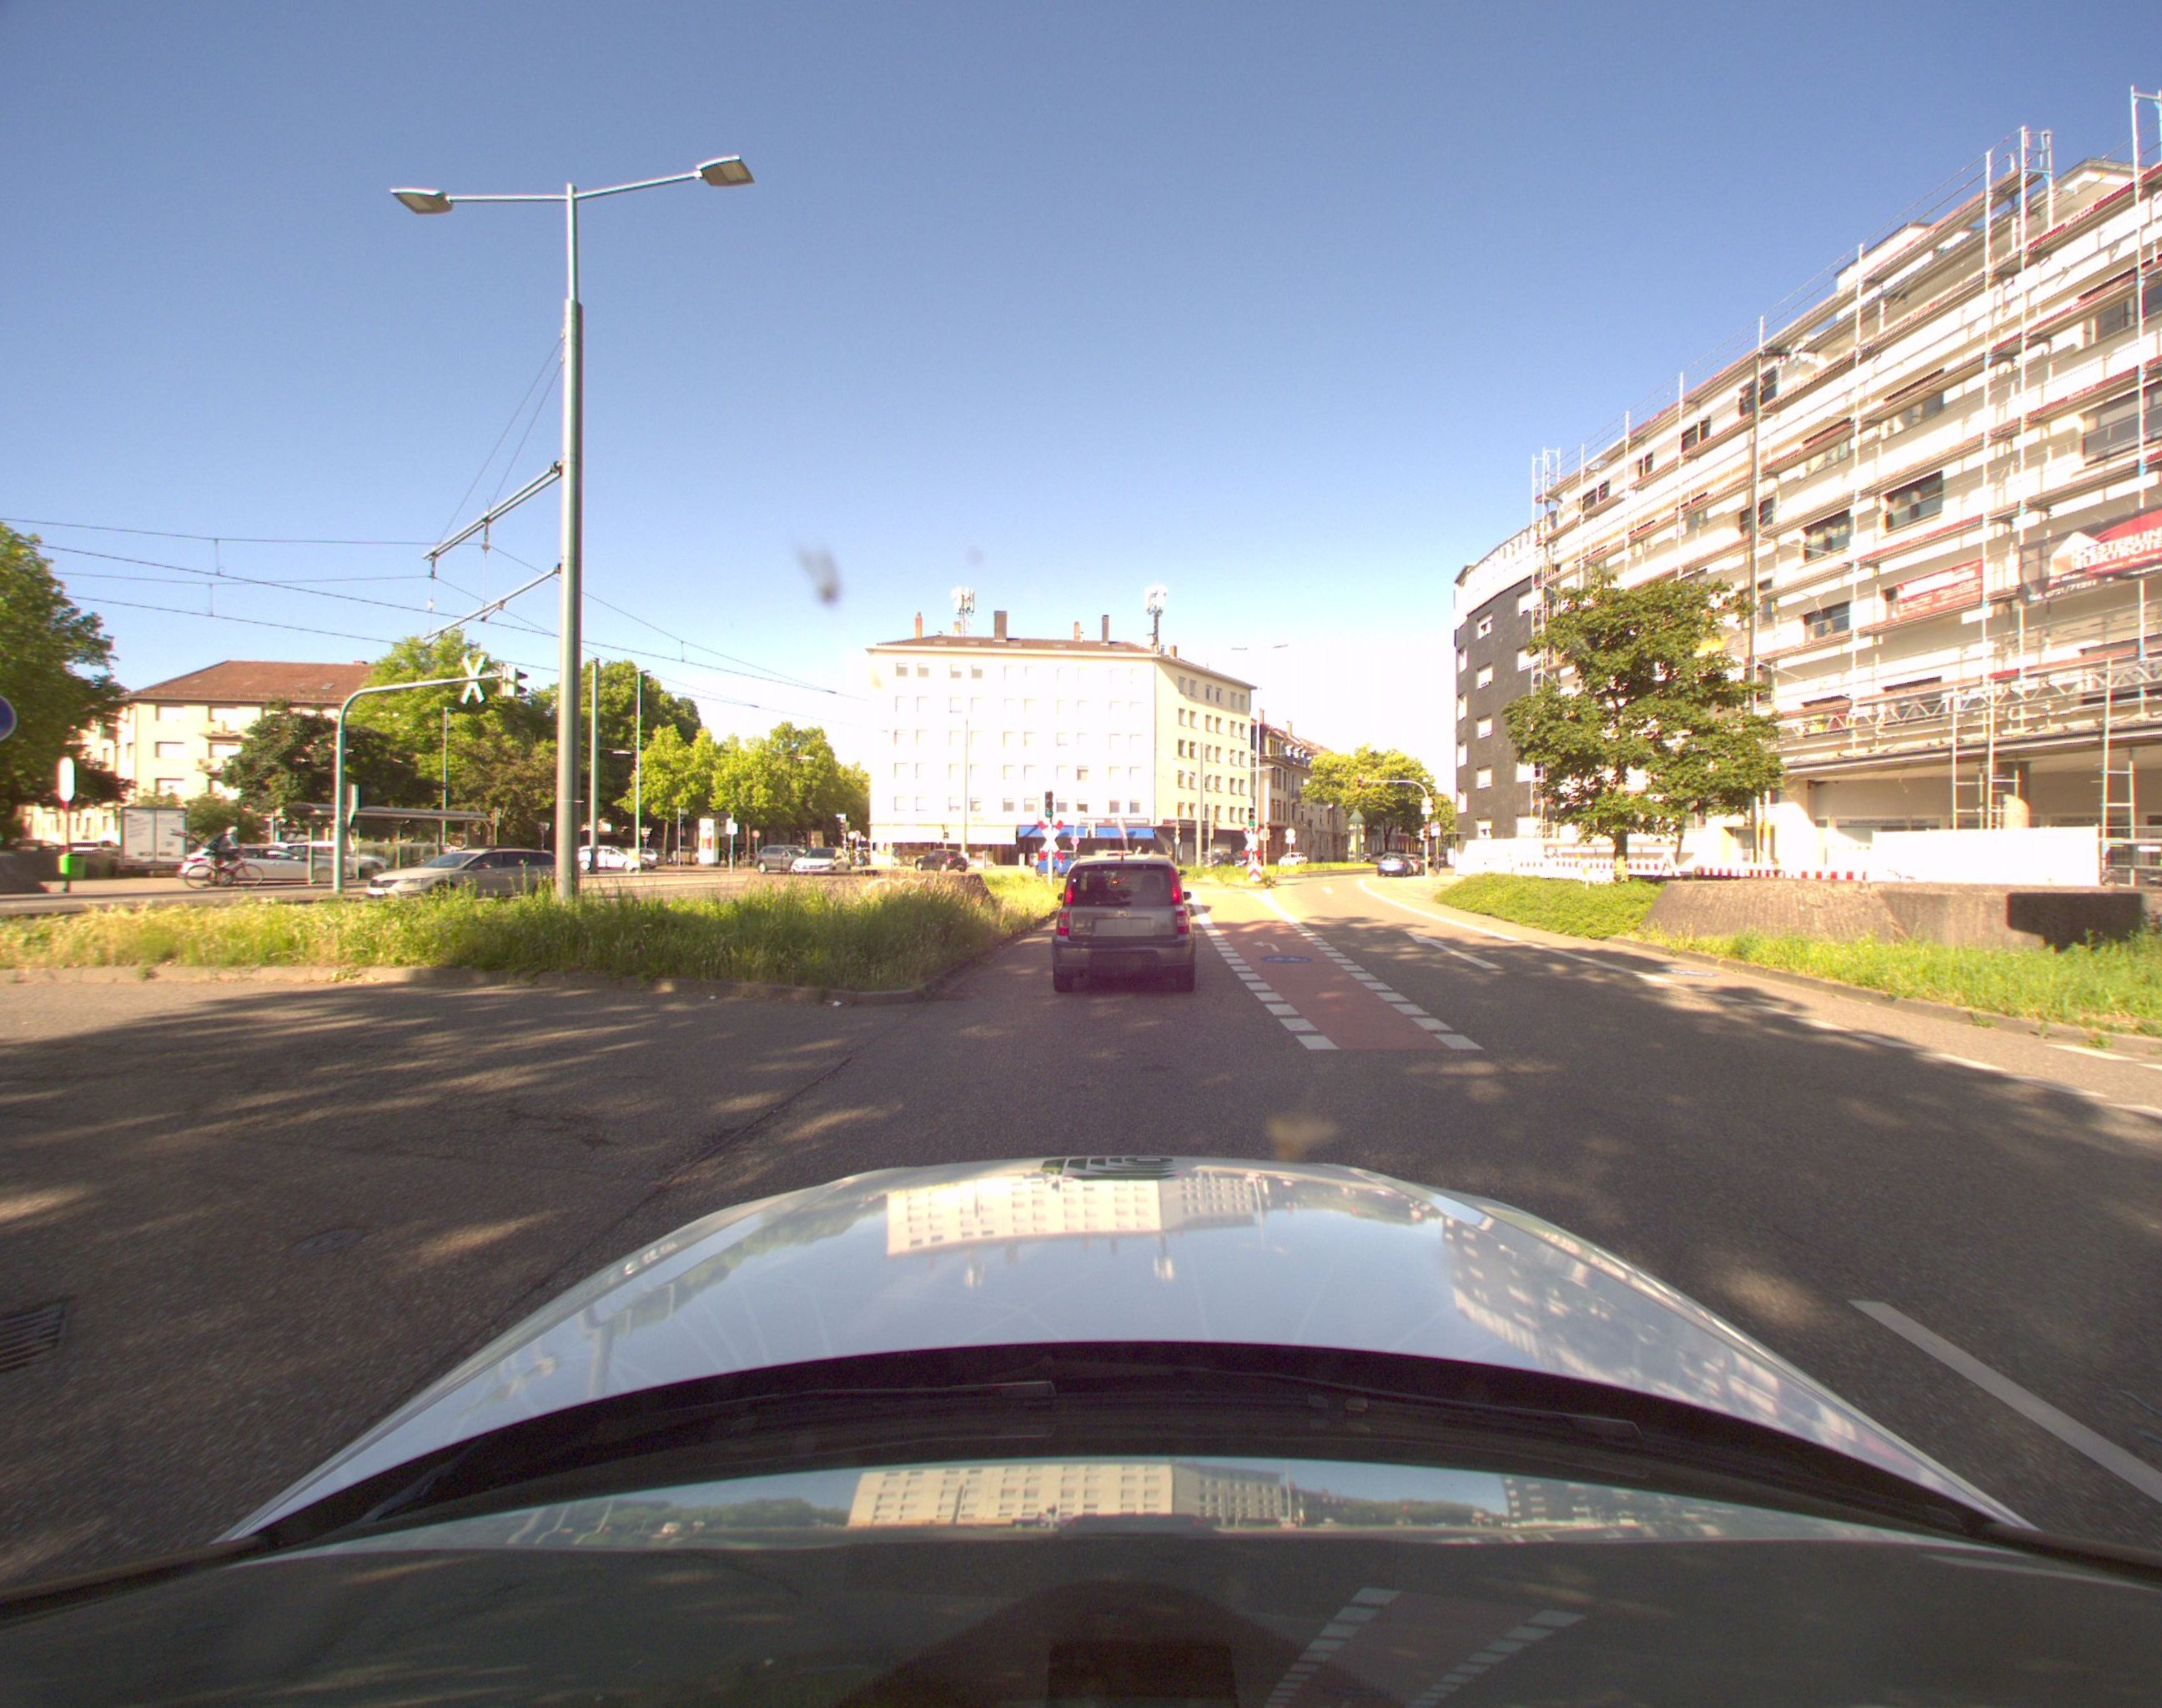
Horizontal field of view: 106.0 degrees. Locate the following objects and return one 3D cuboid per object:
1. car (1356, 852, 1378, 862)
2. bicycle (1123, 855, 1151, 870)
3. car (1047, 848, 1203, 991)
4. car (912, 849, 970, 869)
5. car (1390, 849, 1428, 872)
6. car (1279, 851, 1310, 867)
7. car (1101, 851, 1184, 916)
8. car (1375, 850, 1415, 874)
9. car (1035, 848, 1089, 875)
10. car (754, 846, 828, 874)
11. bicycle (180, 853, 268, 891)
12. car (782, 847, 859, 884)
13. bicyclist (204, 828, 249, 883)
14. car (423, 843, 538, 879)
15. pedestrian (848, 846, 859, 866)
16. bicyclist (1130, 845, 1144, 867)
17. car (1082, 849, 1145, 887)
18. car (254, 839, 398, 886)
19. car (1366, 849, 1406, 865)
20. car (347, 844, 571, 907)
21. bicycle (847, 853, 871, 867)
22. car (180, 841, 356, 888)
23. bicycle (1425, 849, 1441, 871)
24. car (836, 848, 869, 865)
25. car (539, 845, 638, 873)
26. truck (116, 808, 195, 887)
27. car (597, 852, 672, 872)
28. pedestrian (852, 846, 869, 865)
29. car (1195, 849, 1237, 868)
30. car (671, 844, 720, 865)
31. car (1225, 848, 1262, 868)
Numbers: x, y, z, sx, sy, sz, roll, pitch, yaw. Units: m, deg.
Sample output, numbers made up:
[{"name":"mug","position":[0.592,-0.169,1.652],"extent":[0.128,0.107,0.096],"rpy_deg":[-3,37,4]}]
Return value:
[{"name":"car","position":[38.430,0.378,109.247],"extent":[1.974,1.395,4.025],"rpy_deg":[1,0,32]},{"name":"bicycle","position":[3.955,0.585,57.479],"extent":[1.837,1.032,0.592],"rpy_deg":[0,0,17]},{"name":"car","position":[0.471,0.691,10.261],"extent":[1.654,1.510,3.251],"rpy_deg":[0,0,0]},{"name":"car","position":[-9.129,0.298,52.914],"extent":[3.579,1.253,1.707],"rpy_deg":[1,0,37]},{"name":"car","position":[22.636,0.449,56.120],"extent":[1.802,1.508,4.025],"rpy_deg":[0,1,32]},{"name":"car","position":[20.194,0.437,77.080],"extent":[1.773,1.483,3.554],"rpy_deg":[1,0,33]},{"name":"car","position":[1.409,0.651,19.994],"extent":[1.617,1.429,3.685],"rpy_deg":[0,0,-3]},{"name":"car","position":[20.015,0.466,51.894],"extent":[1.758,1.442,3.641],"rpy_deg":[1,1,31]},{"name":"car","position":[-1.103,0.376,45.530],"extent":[1.655,1.438,3.365],"rpy_deg":[0,0,-28]},{"name":"car","position":[-16.992,0.345,47.714],"extent":[3.949,1.572,2.012],"rpy_deg":[1,0,29]},{"name":"bicycle","position":[-24.766,0.496,23.568],"extent":[0.608,1.001,1.664],"rpy_deg":[2,1,12]},{"name":"car","position":[-11.868,0.504,37.428],"extent":[1.986,1.562,4.388],"rpy_deg":[1,0,1]},{"name":"bicyclist","position":[-24.756,0.035,23.600],"extent":[0.608,1.530,0.678],"rpy_deg":[2,1,12]},{"name":"car","position":[-28.041,0.280,38.184],"extent":[1.743,1.488,4.029],"rpy_deg":[4,2,20]},{"name":"pedestrian","position":[-18.976,0.135,67.859],"extent":[0.795,1.621,0.823],"rpy_deg":[0,0,-24]},{"name":"bicyclist","position":[3.963,0.140,57.480],"extent":[0.814,1.559,0.564],"rpy_deg":[0,0,17]},{"name":"car","position":[1.288,0.541,34.134],"extent":[1.760,1.486,4.278],"rpy_deg":[0,0,-10]},{"name":"car","position":[-31.273,0.307,33.869],"extent":[1.742,1.717,4.023],"rpy_deg":[4,2,25]},{"name":"car","position":[31.010,0.278,82.942],"extent":[1.907,1.594,3.980],"rpy_deg":[0,0,-15]},{"name":"car","position":[-15.934,0.490,21.188],"extent":[1.649,1.448,4.424],"rpy_deg":[1,0,20]},{"name":"bicycle","position":[-16.384,0.461,60.118],"extent":[1.832,0.951,0.790],"rpy_deg":[1,-1,41]},{"name":"car","position":[-30.504,0.374,30.684],"extent":[1.849,1.544,4.577],"rpy_deg":[4,2,41]},{"name":"bicycle","position":[24.624,0.432,56.934],"extent":[0.567,1.511,2.825],"rpy_deg":[0,0,32]},{"name":"car","position":[-21.330,0.182,76.086],"extent":[1.930,1.512,3.939],"rpy_deg":[0,0,0]},{"name":"car","position":[-30.442,0.304,50.442],"extent":[4.866,1.442,1.729],"rpy_deg":[-3,-1,-9]},{"name":"truck","position":[-37.467,-0.292,32.950],"extent":[4.767,2.994,2.012],"rpy_deg":[1,1,40]},{"name":"car","position":[-29.442,0.499,53.835],"extent":[4.000,1.243,1.987],"rpy_deg":[1,0,-20]},{"name":"pedestrian","position":[-16.289,0.107,60.084],"extent":[0.926,1.427,0.781],"rpy_deg":[1,-1,40]},{"name":"car","position":[10.532,0.315,63.367],"extent":[1.773,1.396,3.749],"rpy_deg":[1,0,33]},{"name":"car","position":[-31.714,0.053,67.033],"extent":[3.484,1.694,1.621],"rpy_deg":[0,1,21]},{"name":"car","position":[13.687,0.328,68.354],"extent":[1.773,1.565,3.790],"rpy_deg":[1,0,33]}]
